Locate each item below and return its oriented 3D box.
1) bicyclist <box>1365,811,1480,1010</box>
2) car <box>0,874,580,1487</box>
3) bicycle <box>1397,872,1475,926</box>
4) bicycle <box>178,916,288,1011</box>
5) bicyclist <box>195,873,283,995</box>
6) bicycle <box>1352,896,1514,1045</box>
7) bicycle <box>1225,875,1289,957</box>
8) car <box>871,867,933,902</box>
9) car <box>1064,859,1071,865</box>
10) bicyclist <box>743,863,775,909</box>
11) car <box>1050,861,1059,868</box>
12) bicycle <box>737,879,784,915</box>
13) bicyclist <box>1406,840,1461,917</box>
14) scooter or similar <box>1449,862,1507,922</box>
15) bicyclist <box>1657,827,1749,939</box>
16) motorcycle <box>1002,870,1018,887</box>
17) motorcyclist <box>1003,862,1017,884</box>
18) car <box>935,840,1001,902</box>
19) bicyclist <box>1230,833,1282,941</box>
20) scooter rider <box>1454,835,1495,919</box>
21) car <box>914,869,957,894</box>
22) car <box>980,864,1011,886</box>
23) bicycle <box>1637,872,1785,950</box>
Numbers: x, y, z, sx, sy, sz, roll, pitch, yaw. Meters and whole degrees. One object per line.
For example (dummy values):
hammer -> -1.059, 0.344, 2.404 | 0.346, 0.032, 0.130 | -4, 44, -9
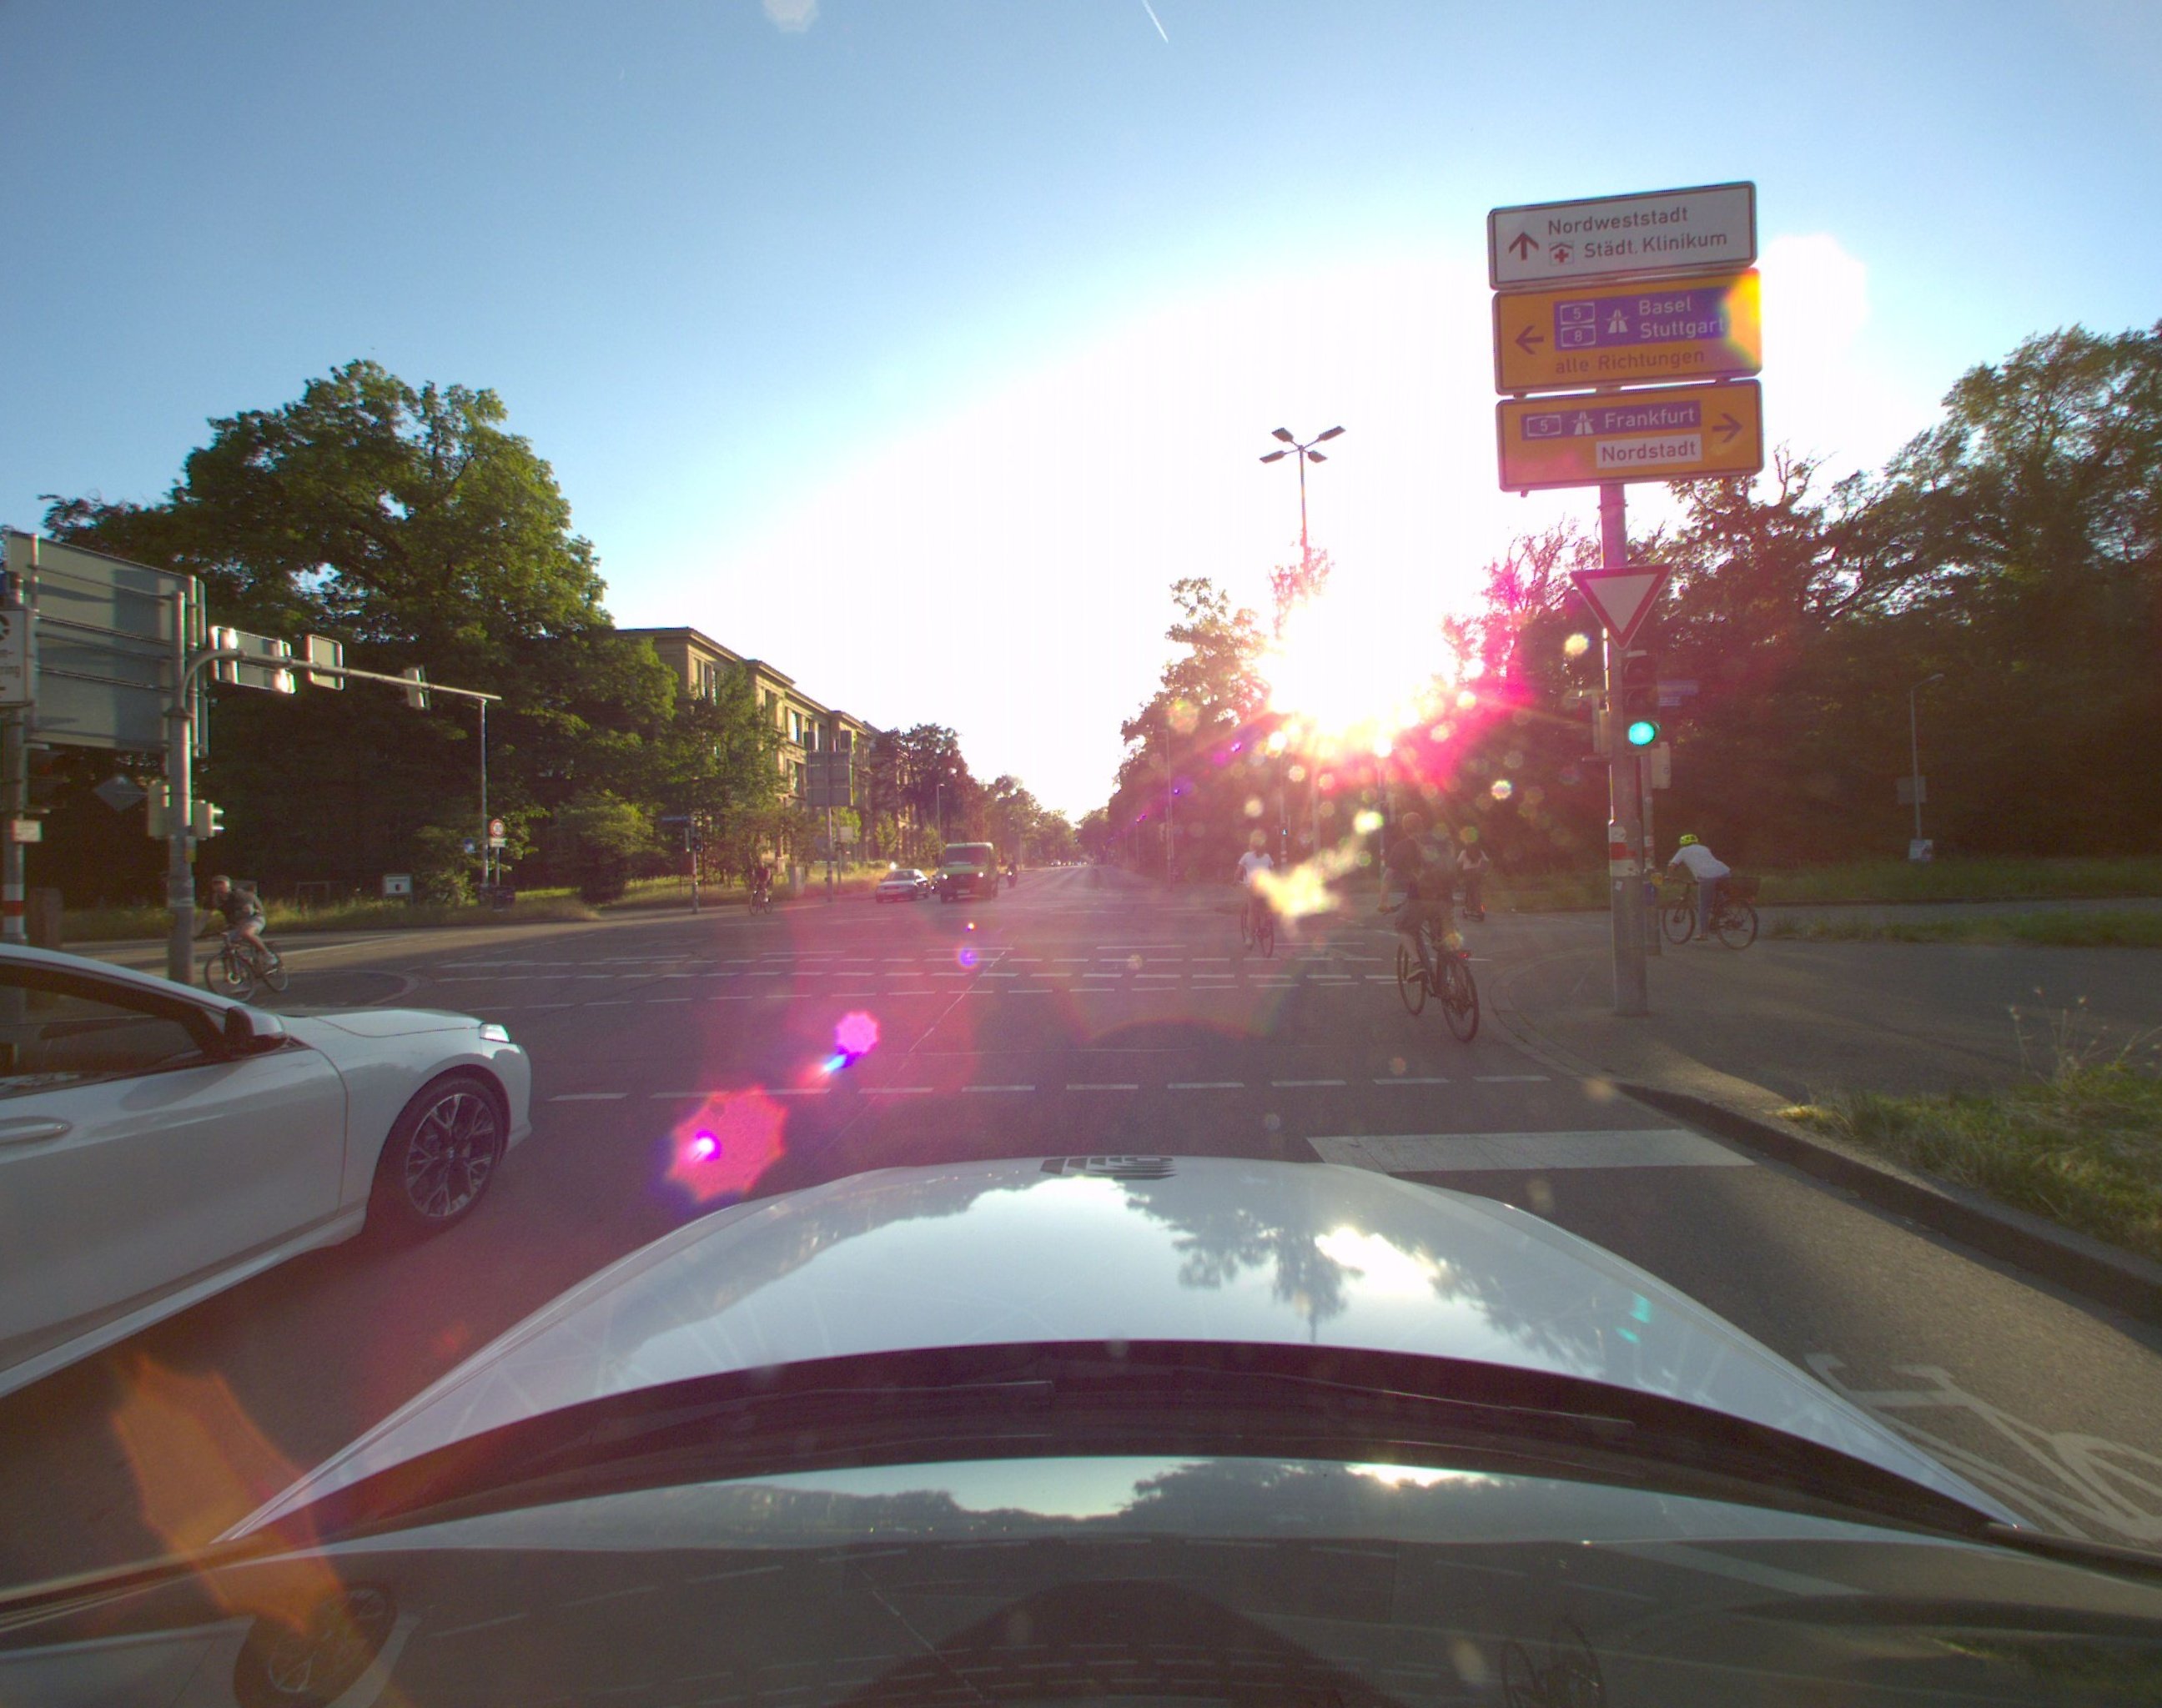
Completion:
bicyclist -> 3.021, 0.480, 7.273 | 0.695, 1.667, 0.799 | -1, -1, 2
car -> -3.533, 0.844, 2.155 | 1.746, 1.466, 4.188 | -2, -1, 0
bicycle -> 7.247, 0.890, 16.739 | 0.768, 1.007, 2.017 | -1, 0, 2
bicycle -> -11.741, 1.465, 11.335 | 0.663, 1.089, 1.883 | 1, -1, -34
bicyclist -> -11.836, 1.084, 11.479 | 0.655, 1.633, 0.905 | 1, -1, -34
bicycle -> 3.025, 0.951, 7.213 | 0.696, 1.063, 1.826 | -1, -1, 2
bicycle -> 2.690, 0.916, 12.616 | 0.611, 1.138, 1.885 | -1, -1, 1
car -> -7.988, 1.334, 36.614 | 1.723, 1.409, 4.141 | -2, -1, 1
car -> -3.683, 2.207, 223.975 | 1.988, 1.640, 3.997 | -2, -1, -2
bicyclist -> -10.986, 1.067, 27.806 | 0.680, 1.512, 0.956 | -2, -1, 1
car -> -5.737, 2.298, 177.067 | 1.766, 1.474, 3.772 | -2, -1, -2
bicycle -> -10.982, 1.461, 28.004 | 0.684, 1.123, 2.169 | -2, -1, 1
bicyclist -> 7.239, 0.495, 16.767 | 0.757, 1.518, 0.857 | -1, -1, 2
scooter or similar -> 8.404, 0.785, 17.310 | 0.559, 1.189, 1.423 | -2, -1, 3
bicyclist -> 9.133, 0.412, 11.984 | 0.554, 1.569, 0.896 | -2, -1, -9
motorcycle -> -4.372, 1.508, 50.162 | 0.751, 1.001, 1.879 | -2, -1, 1
motorcyclist -> -4.385, 1.160, 50.102 | 0.747, 1.358, 0.704 | -2, -1, 1
car -> -4.596, 0.665, 33.901 | 2.033, 2.278, 5.936 | -2, -1, -2
bicyclist -> 2.673, 0.490, 12.519 | 0.601, 1.586, 0.910 | -1, -1, 1
scooter rider -> 8.396, 0.488, 17.391 | 0.563, 1.767, 0.505 | -2, -1, 2
car -> -8.466, 1.567, 47.670 | 1.758, 1.328, 3.644 | -2, -1, 1
car -> -6.713, 1.645, 64.583 | 1.758, 1.635, 4.514 | -2, -1, 2
bicycle -> 9.157, 0.790, 11.935 | 0.563, 1.014, 1.796 | -2, -1, -9
